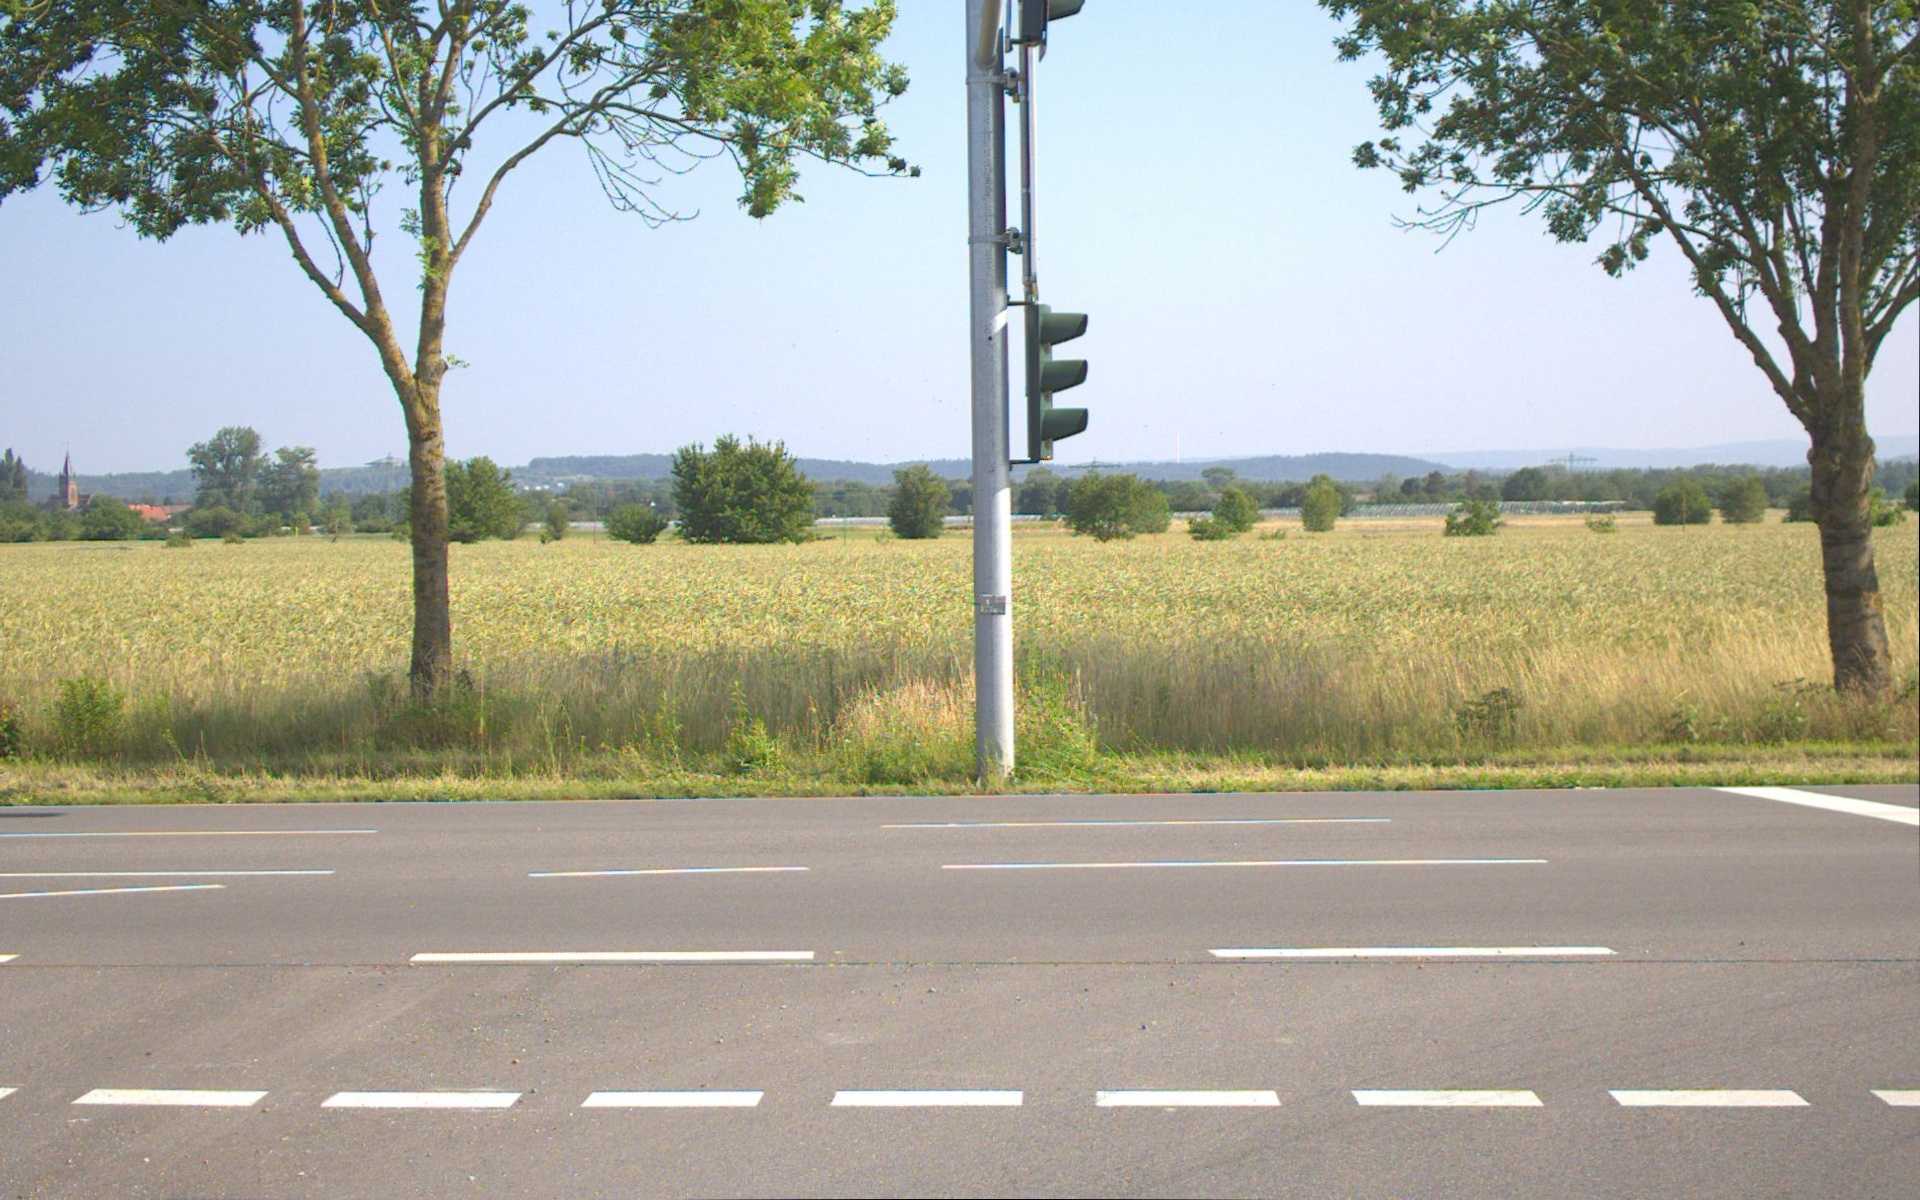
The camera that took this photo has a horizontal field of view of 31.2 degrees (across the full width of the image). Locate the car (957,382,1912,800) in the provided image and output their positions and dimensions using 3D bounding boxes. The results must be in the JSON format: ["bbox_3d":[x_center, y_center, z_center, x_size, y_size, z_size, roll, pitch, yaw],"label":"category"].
[{"bbox_3d":[3.062,-0.039,23.026,5.889,2.568,2.393,1,0,-7],"label":"car"}]
